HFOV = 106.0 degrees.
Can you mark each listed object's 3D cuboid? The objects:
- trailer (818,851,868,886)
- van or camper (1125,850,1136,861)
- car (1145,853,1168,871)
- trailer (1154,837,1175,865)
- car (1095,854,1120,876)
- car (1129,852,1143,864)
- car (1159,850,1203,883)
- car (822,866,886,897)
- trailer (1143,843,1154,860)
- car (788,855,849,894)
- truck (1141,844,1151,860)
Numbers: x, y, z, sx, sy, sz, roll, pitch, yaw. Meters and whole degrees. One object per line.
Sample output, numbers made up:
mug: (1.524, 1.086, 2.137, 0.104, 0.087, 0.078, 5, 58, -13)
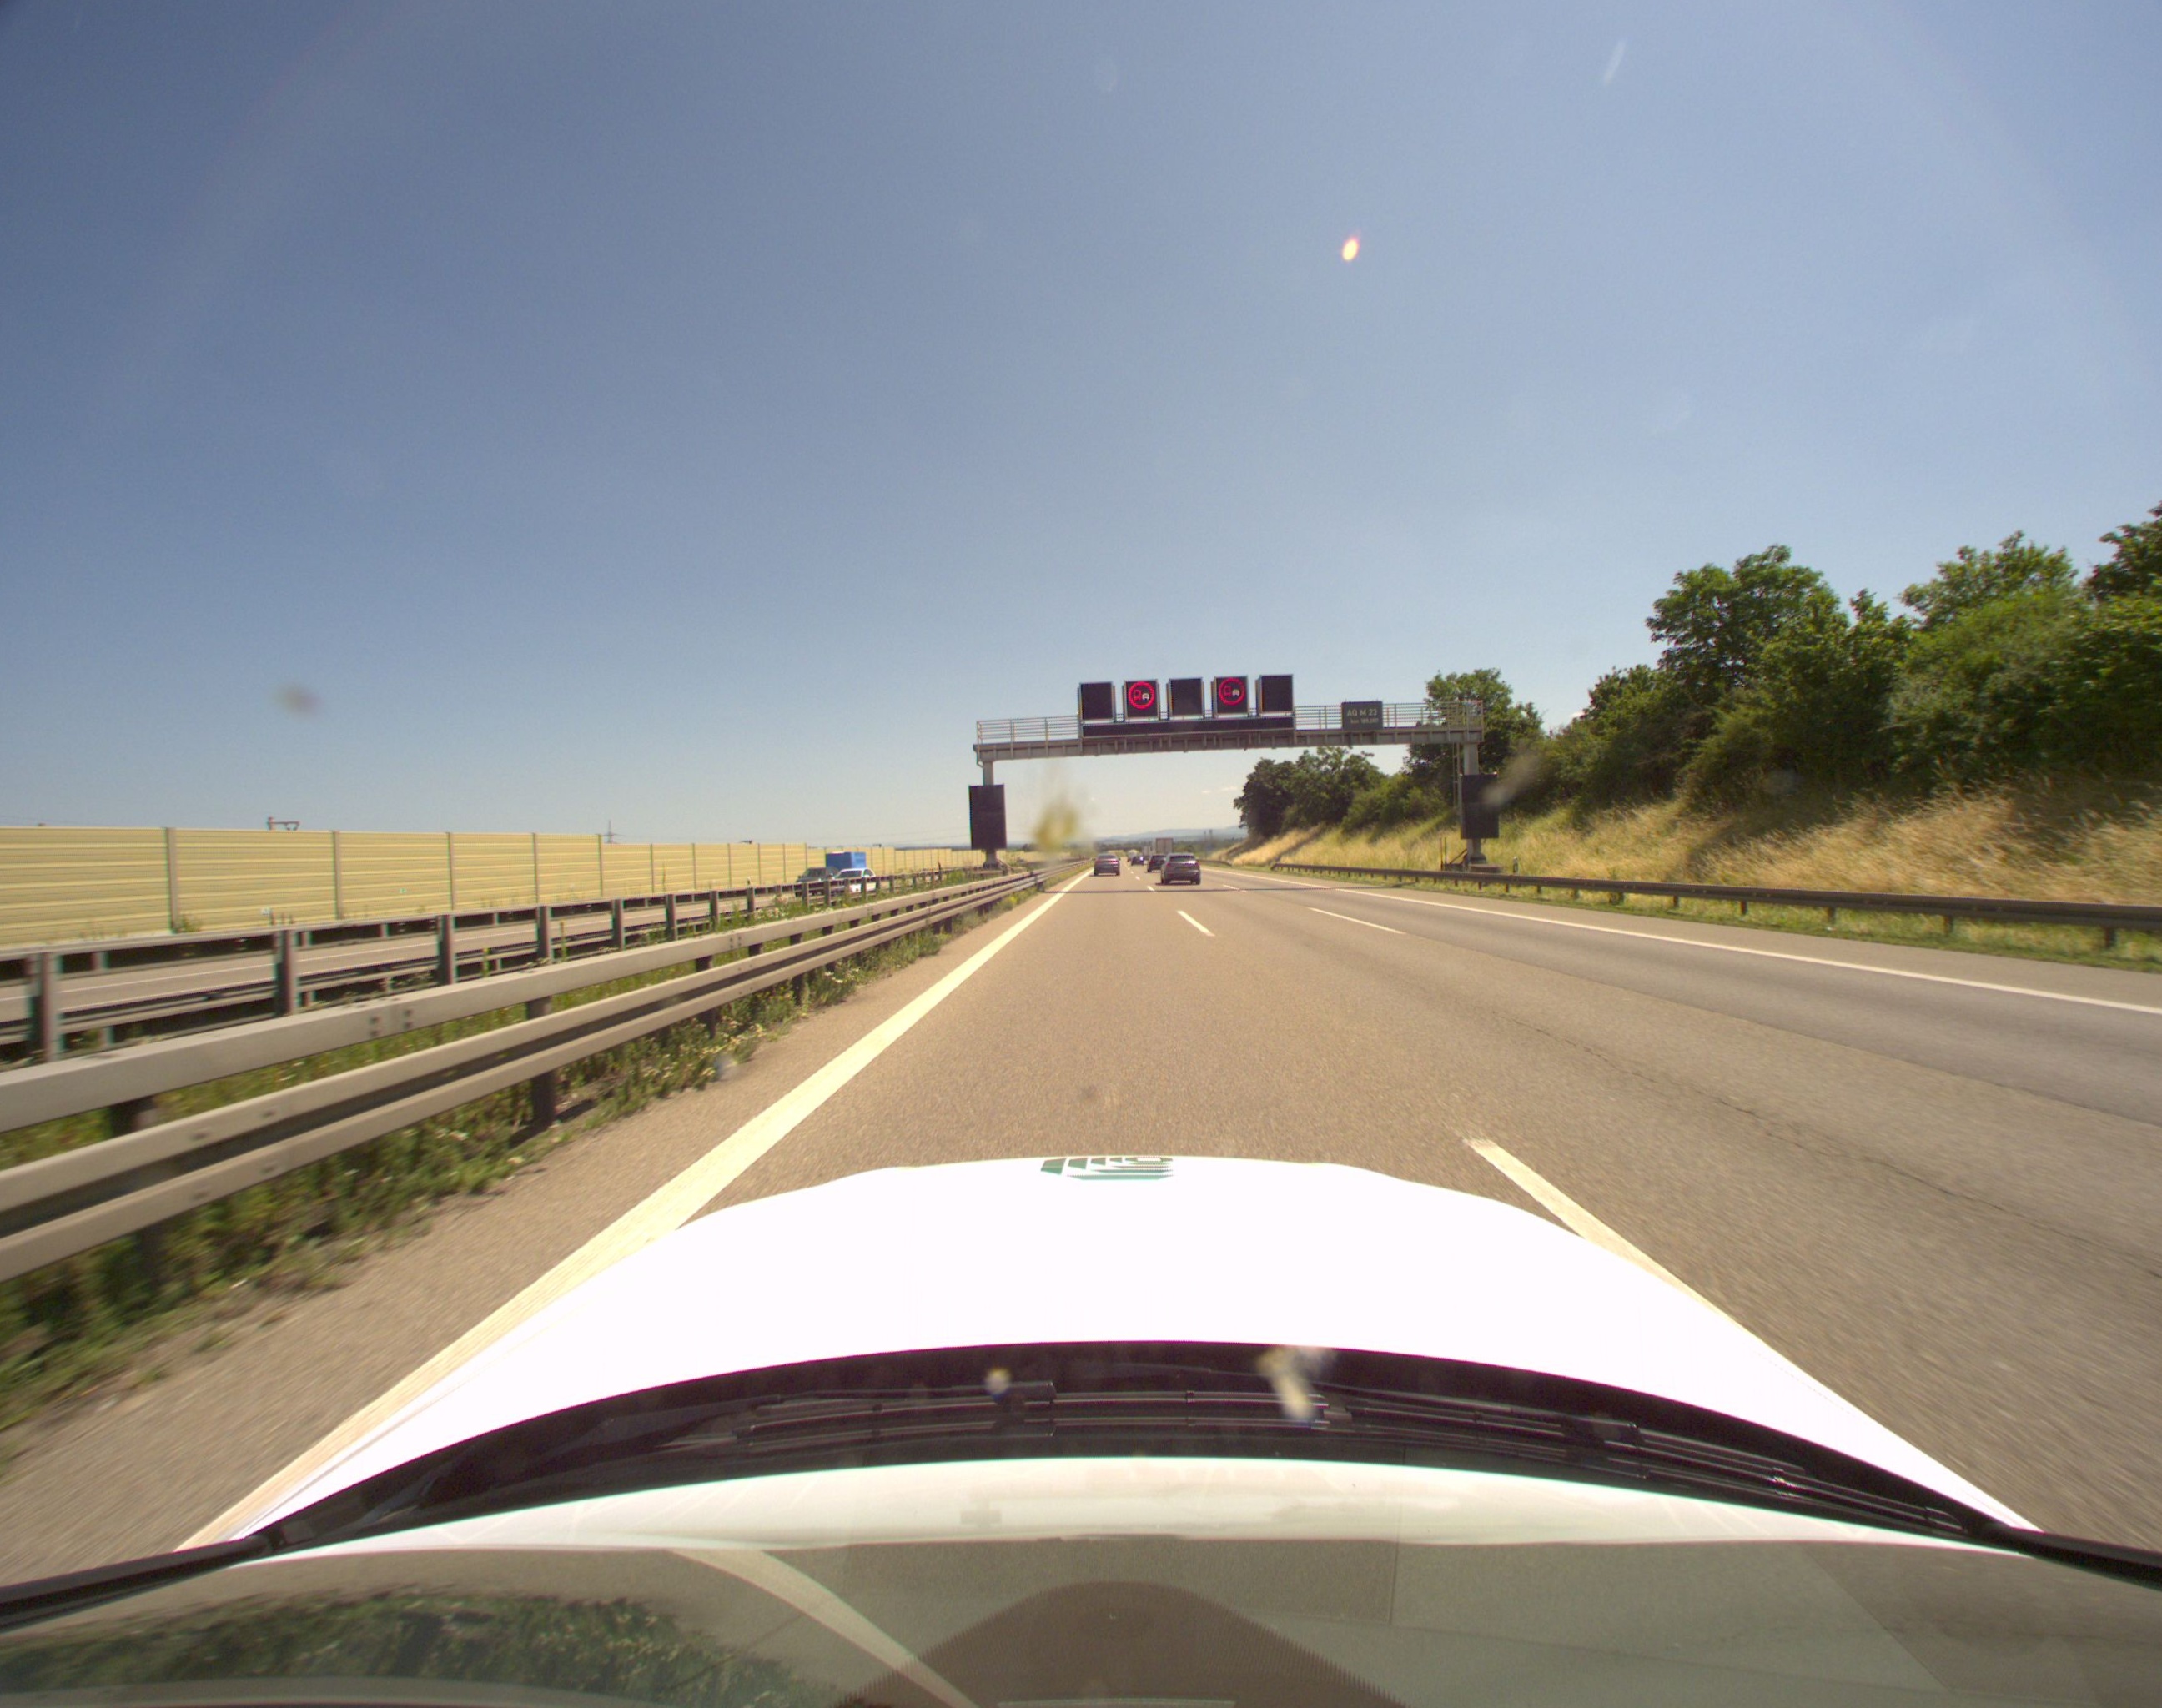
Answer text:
trailer: (-15.668, 0.947, 53.759, 1.986, 2.238, 4.205, 0, -1, 1)
van or camper: (10.799, 0.362, 177.180, 2.101, 2.211, 5.272, 0, -1, 5)
car: (6.621, 0.736, 71.732, 1.790, 1.562, 3.824, 0, -1, 2)
trailer: (13.155, -0.373, 129.376, 2.855, 4.220, 13.308, 0, -1, 4)
car: (2.015, 0.817, 62.036, 1.844, 1.664, 3.736, 0, -1, 2)
car: (7.907, 0.588, 116.571, 1.924, 1.574, 4.939, 0, -1, 4)
car: (5.109, 0.641, 42.285, 1.844, 1.648, 4.646, 0, -1, 2)
car: (-12.033, 1.433, 43.514, 1.886, 1.431, 4.724, -4, -1, 1)
trailer: (18.306, -0.591, 220.629, 2.929, 4.198, 13.613, 0, -1, 5)
car: (-15.738, 1.154, 49.118, 1.986, 2.225, 5.098, 0, 0, 1)
truck: (18.076, -0.534, 226.320, 2.965, 4.228, 7.696, 0, -1, 5)
